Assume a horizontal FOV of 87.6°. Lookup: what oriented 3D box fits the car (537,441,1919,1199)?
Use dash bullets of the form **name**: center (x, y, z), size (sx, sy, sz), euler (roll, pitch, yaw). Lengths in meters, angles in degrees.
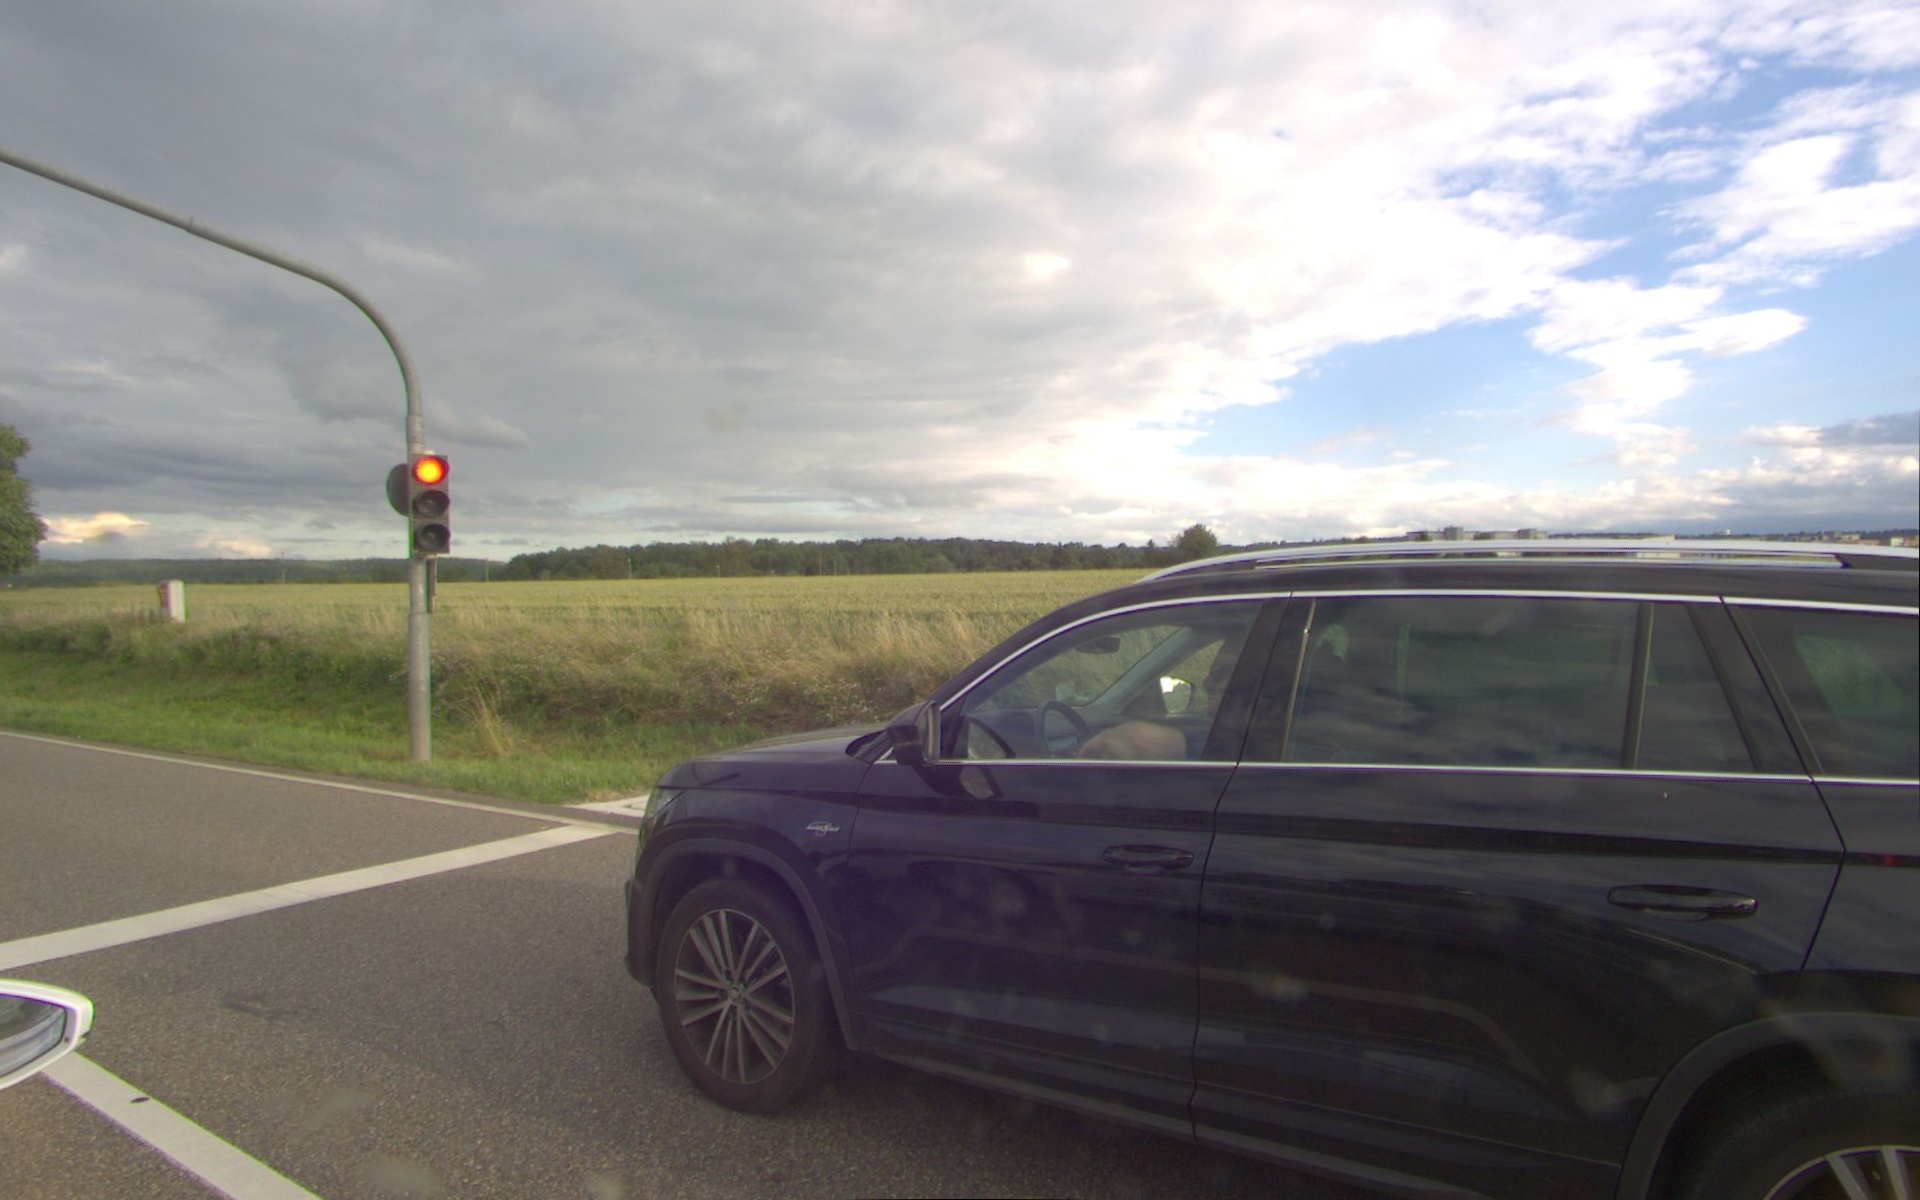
- **car**: center (0.897, 0.670, 3.078), size (4.492, 1.730, 1.833), euler (-1, -2, 32)
